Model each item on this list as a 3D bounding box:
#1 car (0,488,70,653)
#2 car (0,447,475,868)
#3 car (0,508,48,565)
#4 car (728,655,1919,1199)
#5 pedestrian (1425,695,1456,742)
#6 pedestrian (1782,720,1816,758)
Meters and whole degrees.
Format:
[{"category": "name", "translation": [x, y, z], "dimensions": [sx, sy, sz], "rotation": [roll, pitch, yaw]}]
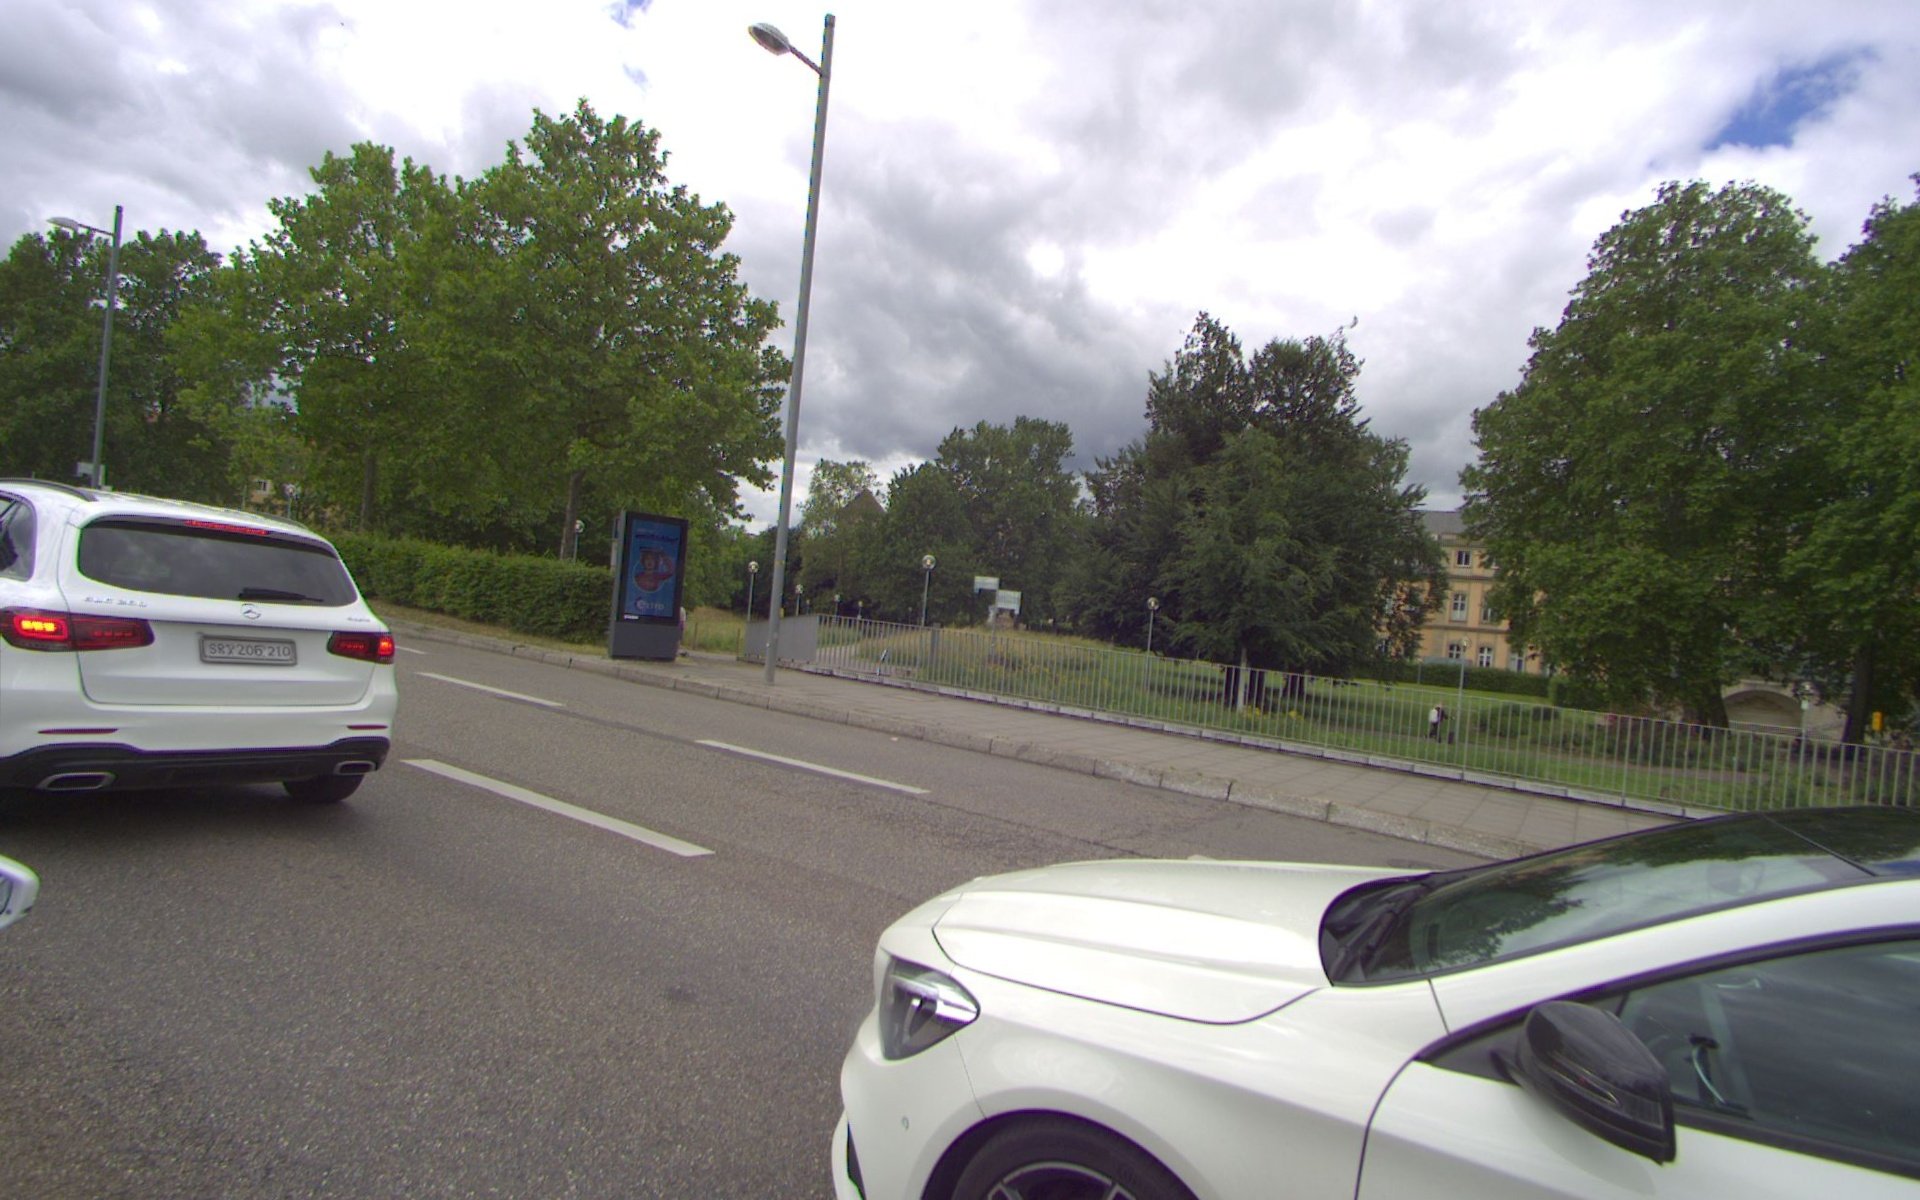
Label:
[{"category": "car", "translation": [-11.388, -0.518, 10.511], "dimensions": [4.417, 1.569, 1.929], "rotation": [6, -2, 33]}, {"category": "car", "translation": [-5.128, 0.111, 5.958], "dimensions": [4.417, 1.673, 1.929], "rotation": [6, -1, 33]}, {"category": "car", "translation": [-29.285, -2.025, 30.181], "dimensions": [4.459, 1.476, 1.933], "rotation": [5, -3, 37]}, {"category": "car", "translation": [1.853, 1.094, 1.838], "dimensions": [4.454, 1.436, 1.796], "rotation": [5, -2, 33]}, {"category": "pedestrian", "translation": [17.789, 4.388, 37.268], "dimensions": [0.645, 1.619, 0.684], "rotation": [7, -2, -2]}, {"category": "pedestrian", "translation": [48.347, 8.007, 57.968], "dimensions": [0.930, 2.036, 1.101], "rotation": [7, -2, -20]}]
